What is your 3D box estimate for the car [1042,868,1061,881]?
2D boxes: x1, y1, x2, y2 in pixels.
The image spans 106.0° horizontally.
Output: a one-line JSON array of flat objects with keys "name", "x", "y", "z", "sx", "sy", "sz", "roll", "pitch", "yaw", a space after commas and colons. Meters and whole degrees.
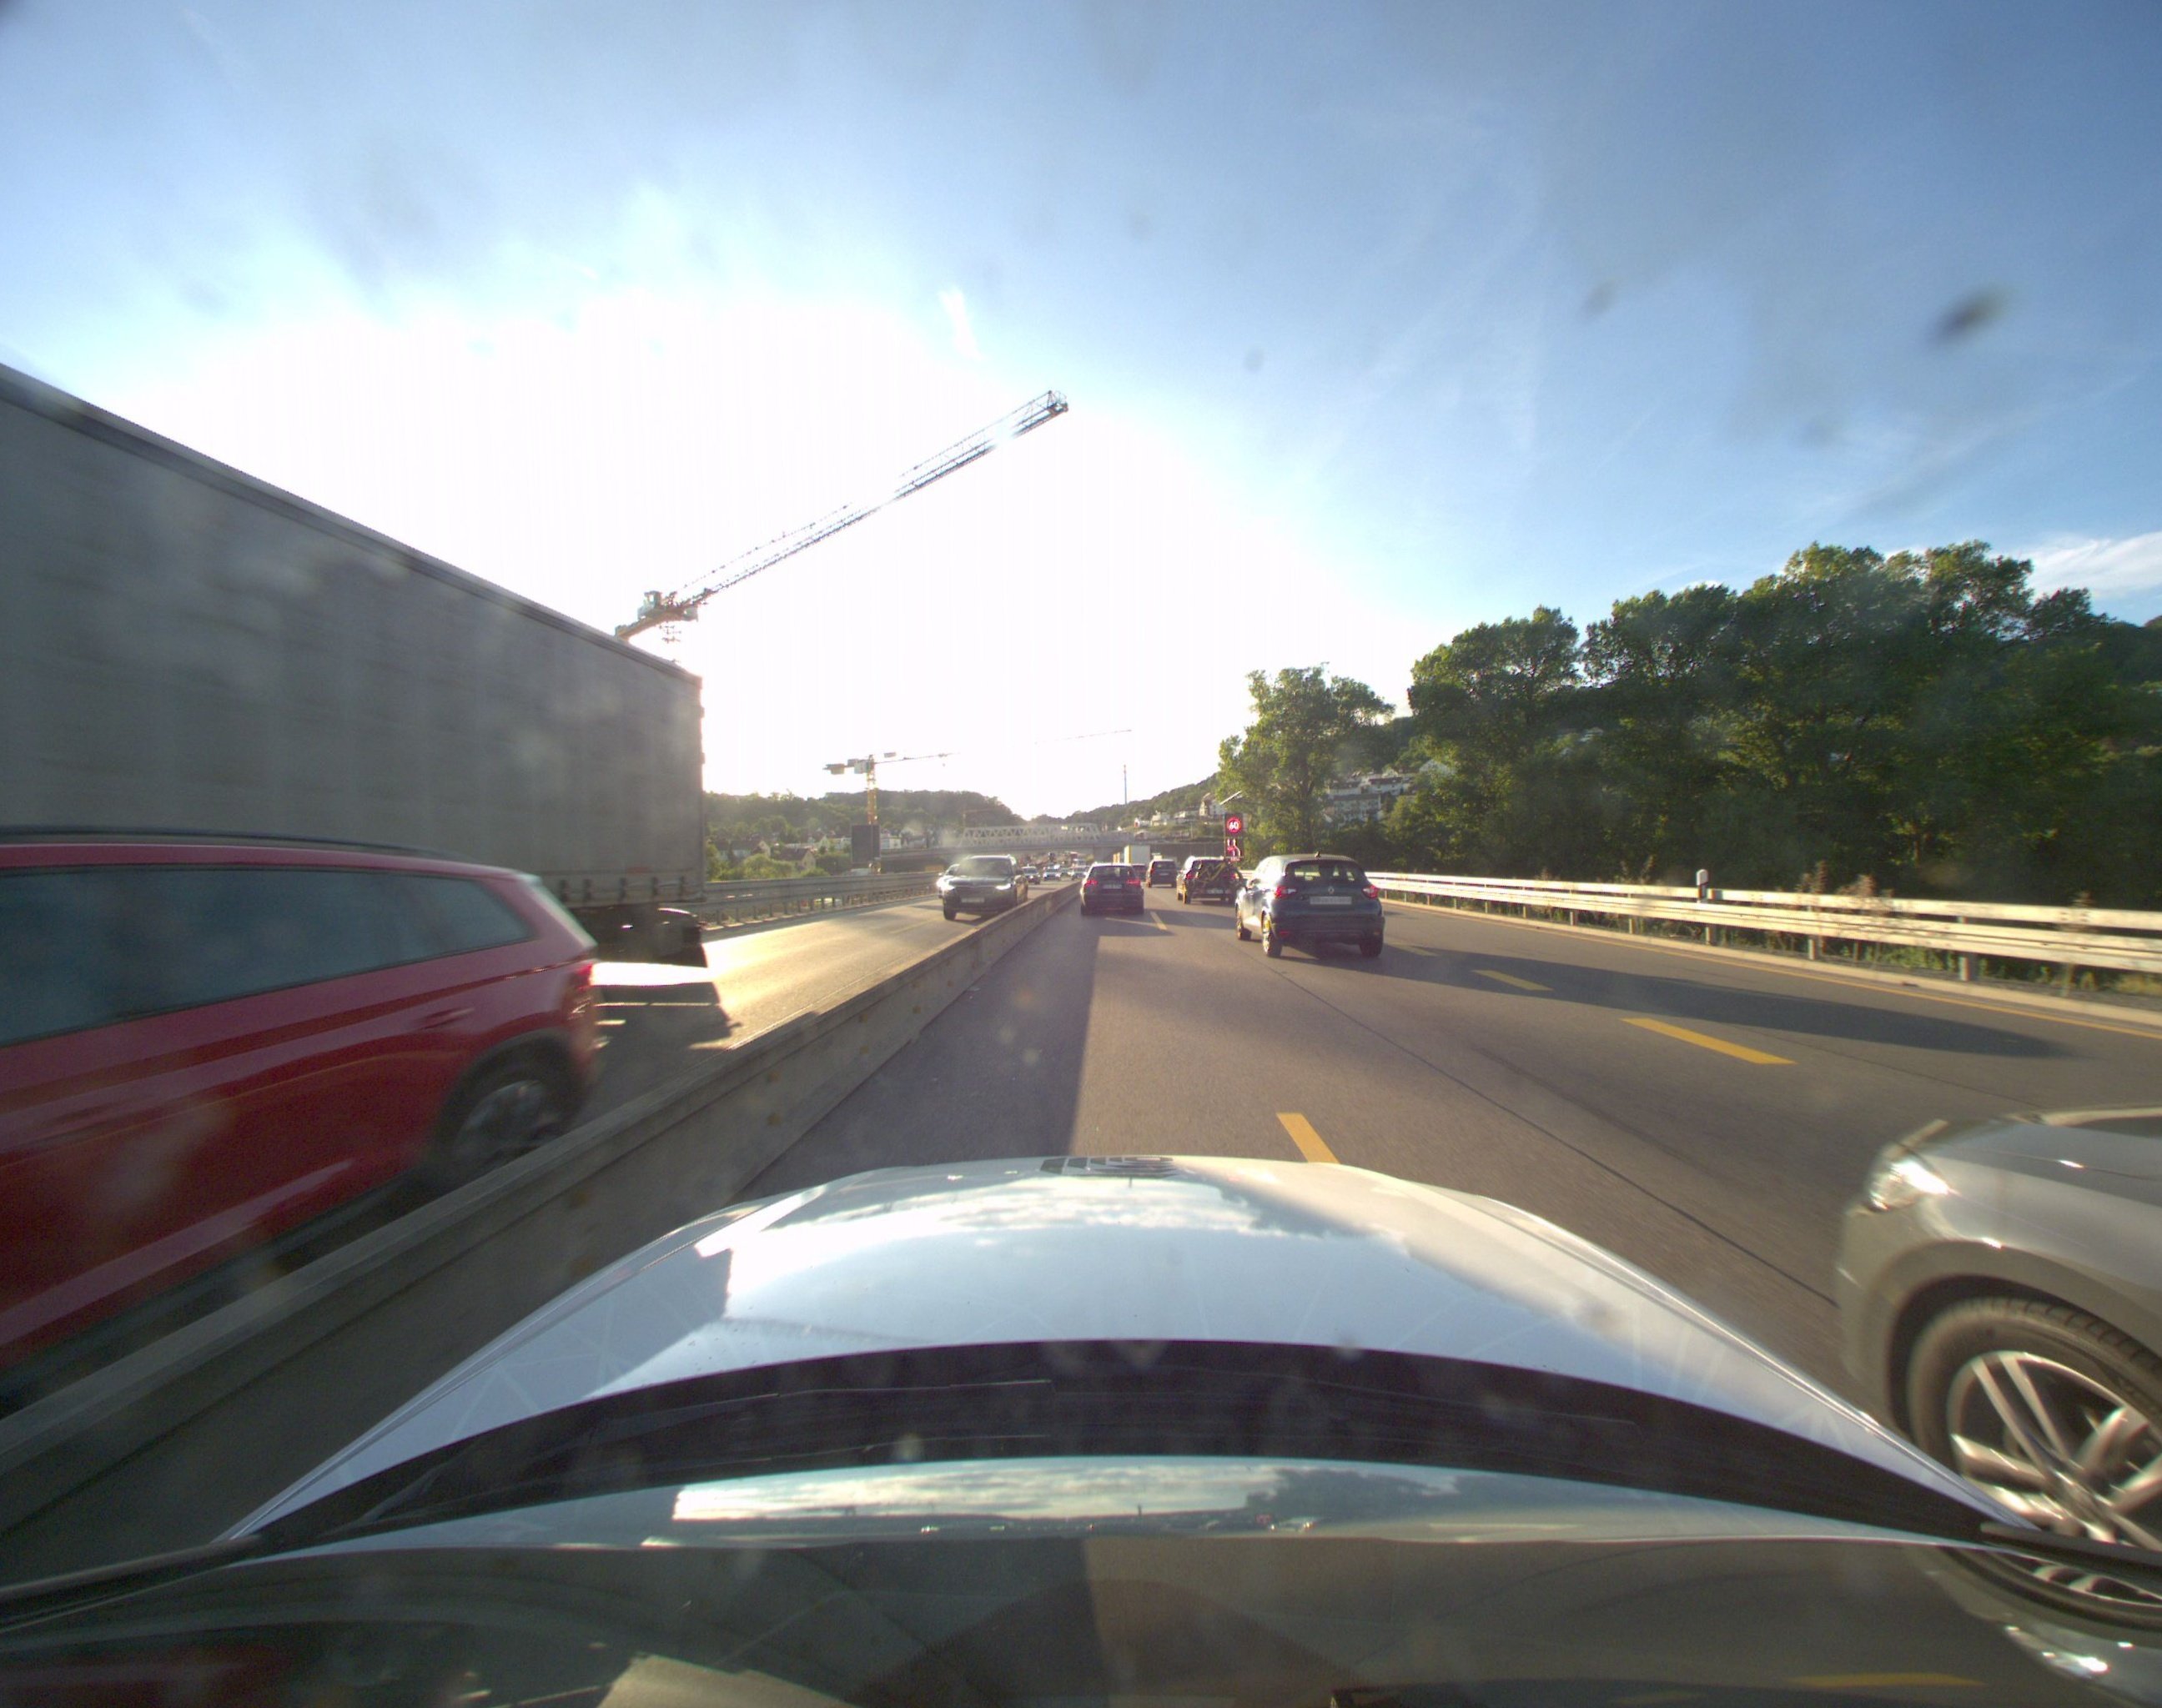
[{"name": "car", "x": -3.325, "y": 2.282, "z": 91.239, "sx": 1.767, "sy": 1.382, "sz": 4.533, "roll": -2, "pitch": -2, "yaw": 2}]

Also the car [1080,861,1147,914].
[{"name": "car", "x": 0.876, "y": 0.920, "z": 23.535, "sx": 1.764, "sy": 1.390, "sz": 3.999, "roll": 0, "pitch": -1, "yaw": 0}]

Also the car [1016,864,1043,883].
[{"name": "car", "x": -4.163, "y": 1.559, "z": 66.526, "sx": 1.670, "sy": 1.423, "sz": 4.581, "roll": 0, "pitch": 0, "yaw": 2}]

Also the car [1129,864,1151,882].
[{"name": "car", "x": 5.397, "y": 1.724, "z": 74.694, "sx": 1.764, "sy": 1.553, "sz": 3.999, "roll": 0, "pitch": -1, "yaw": 0}]

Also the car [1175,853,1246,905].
[{"name": "car", "x": 4.369, "y": 0.845, "z": 28.154, "sx": 1.868, "sy": 1.599, "sz": 4.969, "roll": -1, "pitch": -1, "yaw": 3}]

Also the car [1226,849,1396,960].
[{"name": "car", "x": 3.672, "y": 0.740, "z": 13.770, "sx": 1.767, "sy": 1.586, "sz": 4.135, "roll": 0, "pitch": 0, "yaw": 1}]

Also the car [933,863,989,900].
[{"name": "car", "x": -5.192, "y": 1.156, "z": 35.645, "sx": 1.694, "sy": 1.446, "sz": 4.001, "roll": -2, "pitch": 0, "yaw": 2}]

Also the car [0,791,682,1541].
[{"name": "car", "x": -3.325, "y": 0.702, "z": 2.265, "sx": 1.986, "sy": 1.619, "sz": 4.607, "roll": -2, "pitch": -1, "yaw": 2}]

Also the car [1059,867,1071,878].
[{"name": "car", "x": -2.523, "y": 2.958, "z": 130.544, "sx": 1.704, "sy": 1.552, "sz": 4.001, "roll": -2, "pitch": 0, "yaw": 2}]

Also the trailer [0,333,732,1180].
[{"name": "trailer", "x": -6.544, "y": -0.447, "z": 4.198, "sx": 2.803, "sy": 4.051, "sz": 14.029, "roll": -1, "pitch": -1, "yaw": 3}]

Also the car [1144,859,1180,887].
[{"name": "car", "x": 4.836, "y": 1.120, "z": 48.968, "sx": 1.808, "sy": 1.632, "sz": 4.411, "roll": -1, "pitch": -1, "yaw": 1}]

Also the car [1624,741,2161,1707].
[{"name": "car", "x": 2.695, "y": 0.618, "z": 0.473, "sx": 1.806, "sy": 1.615, "sz": 4.526, "roll": 1, "pitch": -1, "yaw": 1}]

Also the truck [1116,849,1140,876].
[{"name": "truck", "x": 8.109, "y": 1.420, "z": 142.641, "sx": 3.876, "sy": 4.498, "sz": 15.272, "roll": 0, "pitch": 0, "yaw": 2}]

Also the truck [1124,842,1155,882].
[{"name": "truck", "x": 7.084, "y": 0.811, "z": 100.976, "sx": 3.372, "sy": 4.498, "sz": 15.276, "roll": 0, "pitch": 1, "yaw": 2}]

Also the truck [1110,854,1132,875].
[{"name": "truck", "x": 8.809, "y": 2.192, "z": 182.845, "sx": 3.880, "sy": 4.498, "sz": 13.839, "roll": 0, "pitch": 0, "yaw": -2}]

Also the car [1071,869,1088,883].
[{"name": "car", "x": -0.175, "y": 2.519, "z": 93.514, "sx": 1.798, "sy": 1.512, "sz": 4.001, "roll": -1, "pitch": -1, "yaw": 1}]

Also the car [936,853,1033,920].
[{"name": "car", "x": -2.539, "y": 0.827, "z": 22.501, "sx": 1.986, "sy": 1.645, "sz": 4.514, "roll": 0, "pitch": -1, "yaw": 2}]
